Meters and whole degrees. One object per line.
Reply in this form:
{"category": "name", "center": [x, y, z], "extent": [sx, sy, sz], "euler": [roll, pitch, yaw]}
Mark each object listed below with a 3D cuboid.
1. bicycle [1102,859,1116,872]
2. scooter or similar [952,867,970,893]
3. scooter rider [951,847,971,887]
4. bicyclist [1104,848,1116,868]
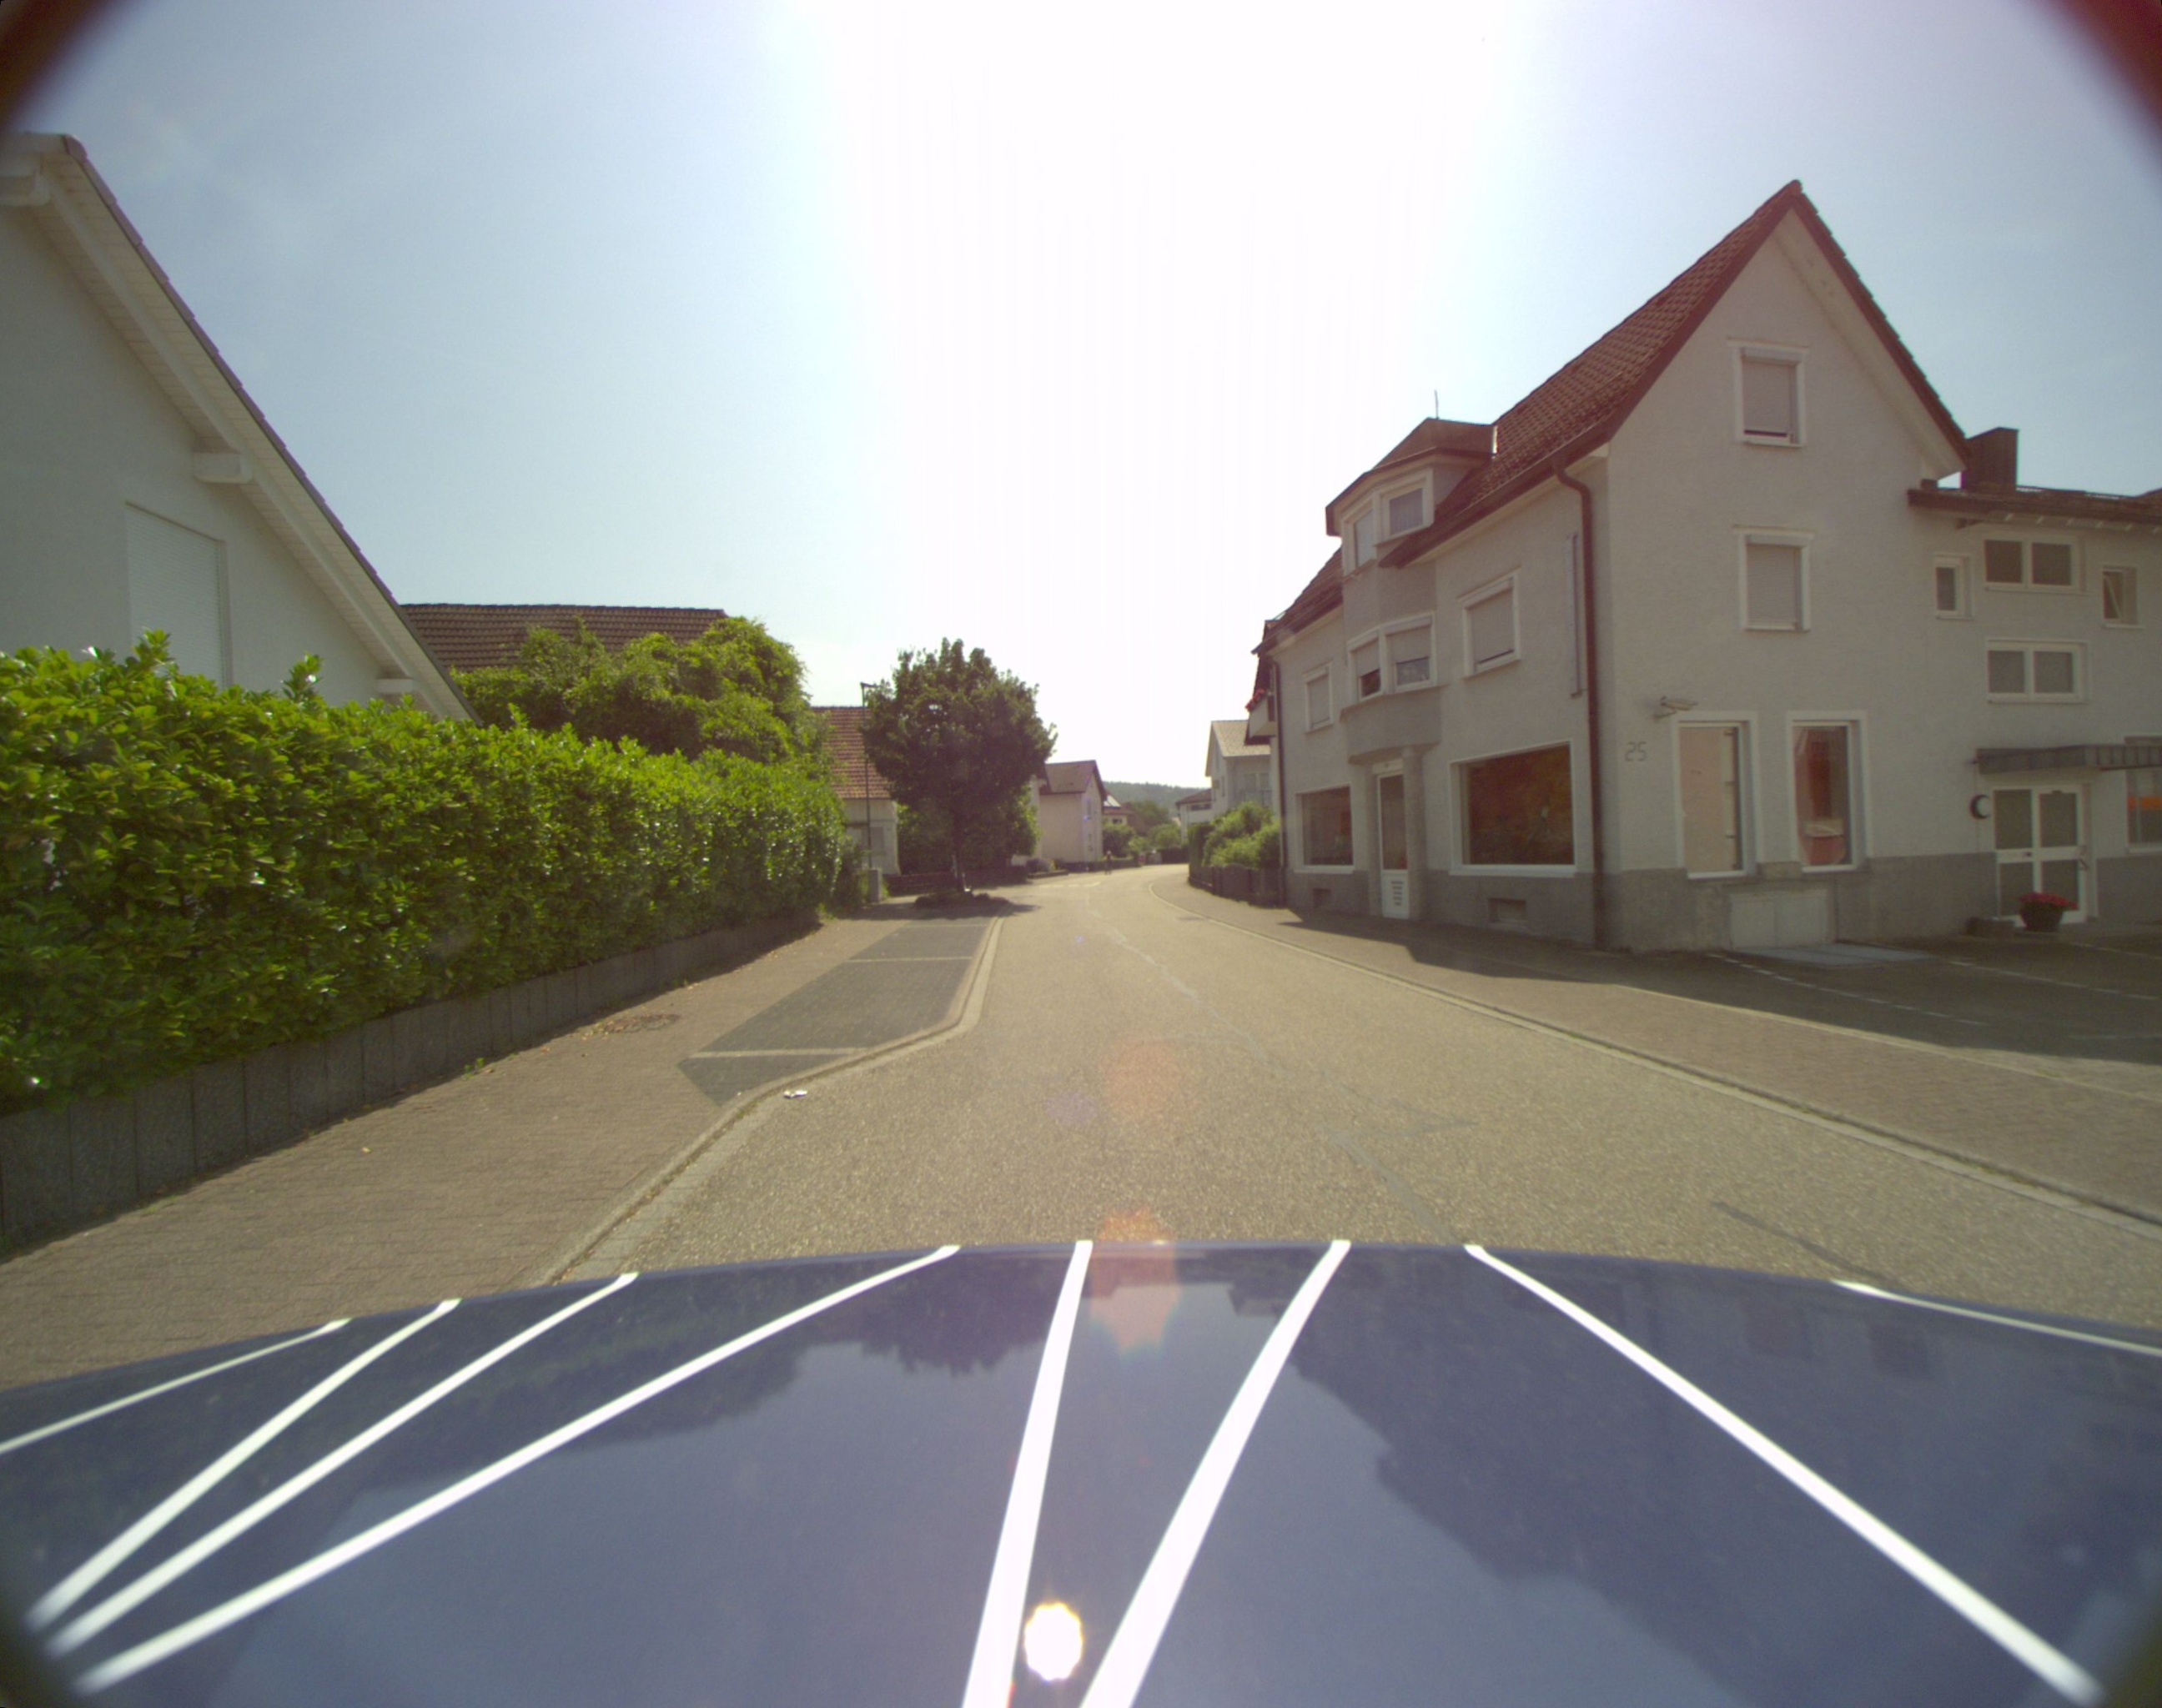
{"category": "bicycle", "center": [2.115, 0.883, 56.730], "extent": [0.520, 0.899, 1.315], "euler": [-2, 1, 26]}
{"category": "scooter or similar", "center": [-5.319, 1.153, 33.774], "extent": [0.542, 1.083, 0.692], "euler": [-2, 1, 10]}
{"category": "scooter rider", "center": [-5.340, 0.580, 33.760], "extent": [0.616, 1.714, 0.640], "euler": [-2, 1, 10]}
{"category": "bicyclist", "center": [2.161, 0.311, 56.847], "extent": [0.546, 1.481, 0.798], "euler": [-2, 1, 26]}
